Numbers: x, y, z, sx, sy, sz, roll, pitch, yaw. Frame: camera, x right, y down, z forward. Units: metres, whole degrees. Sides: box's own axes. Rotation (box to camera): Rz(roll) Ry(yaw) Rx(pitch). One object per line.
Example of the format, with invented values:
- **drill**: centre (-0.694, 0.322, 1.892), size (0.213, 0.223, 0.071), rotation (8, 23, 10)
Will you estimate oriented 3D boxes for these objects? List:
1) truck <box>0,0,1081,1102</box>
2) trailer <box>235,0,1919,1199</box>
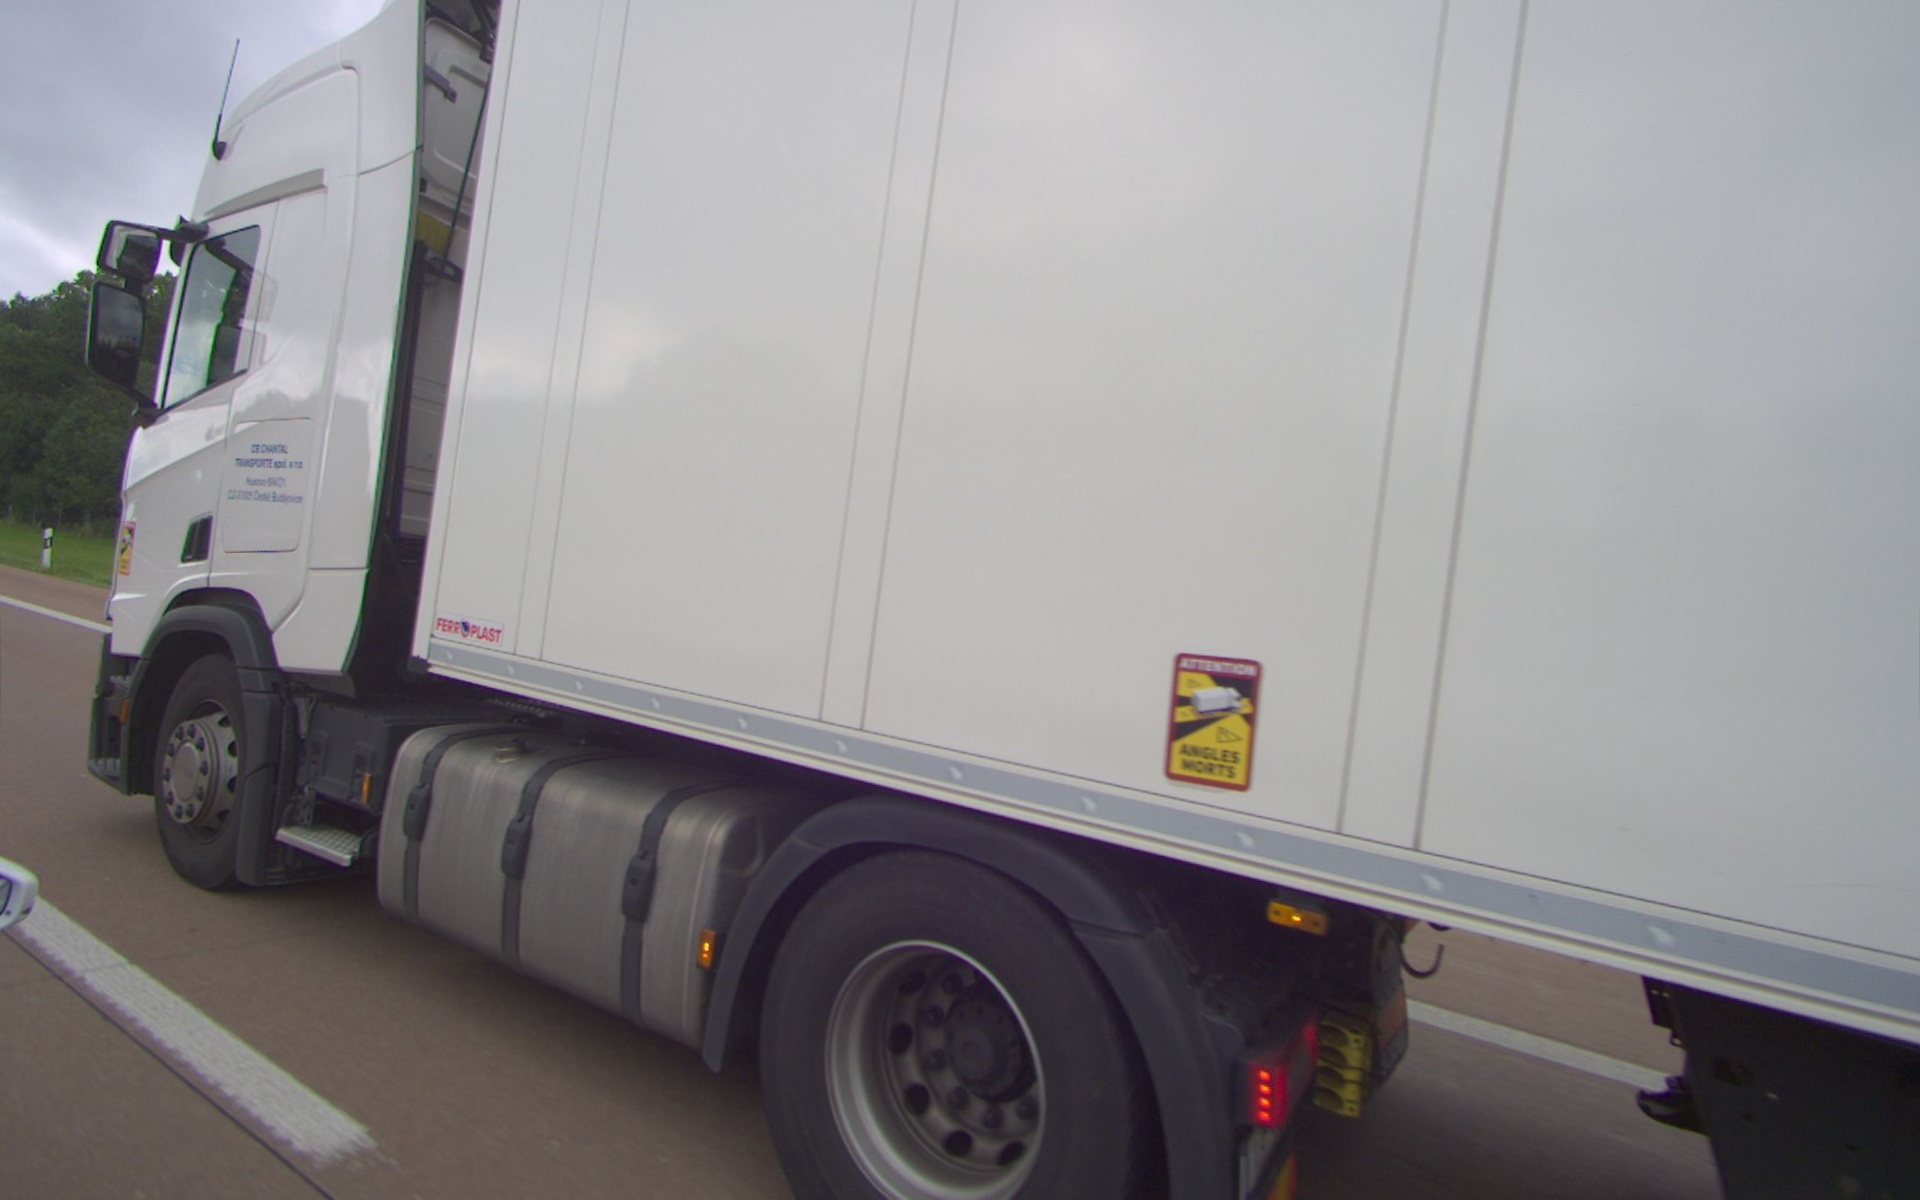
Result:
- **truck**: centre (-2.606, -0.970, 5.258), size (5.246, 4.345, 2.926), rotation (7, -1, 31)
- **trailer**: centre (4.412, -0.132, 0.885), size (13.387, 4.345, 2.926), rotation (7, -1, 32)
